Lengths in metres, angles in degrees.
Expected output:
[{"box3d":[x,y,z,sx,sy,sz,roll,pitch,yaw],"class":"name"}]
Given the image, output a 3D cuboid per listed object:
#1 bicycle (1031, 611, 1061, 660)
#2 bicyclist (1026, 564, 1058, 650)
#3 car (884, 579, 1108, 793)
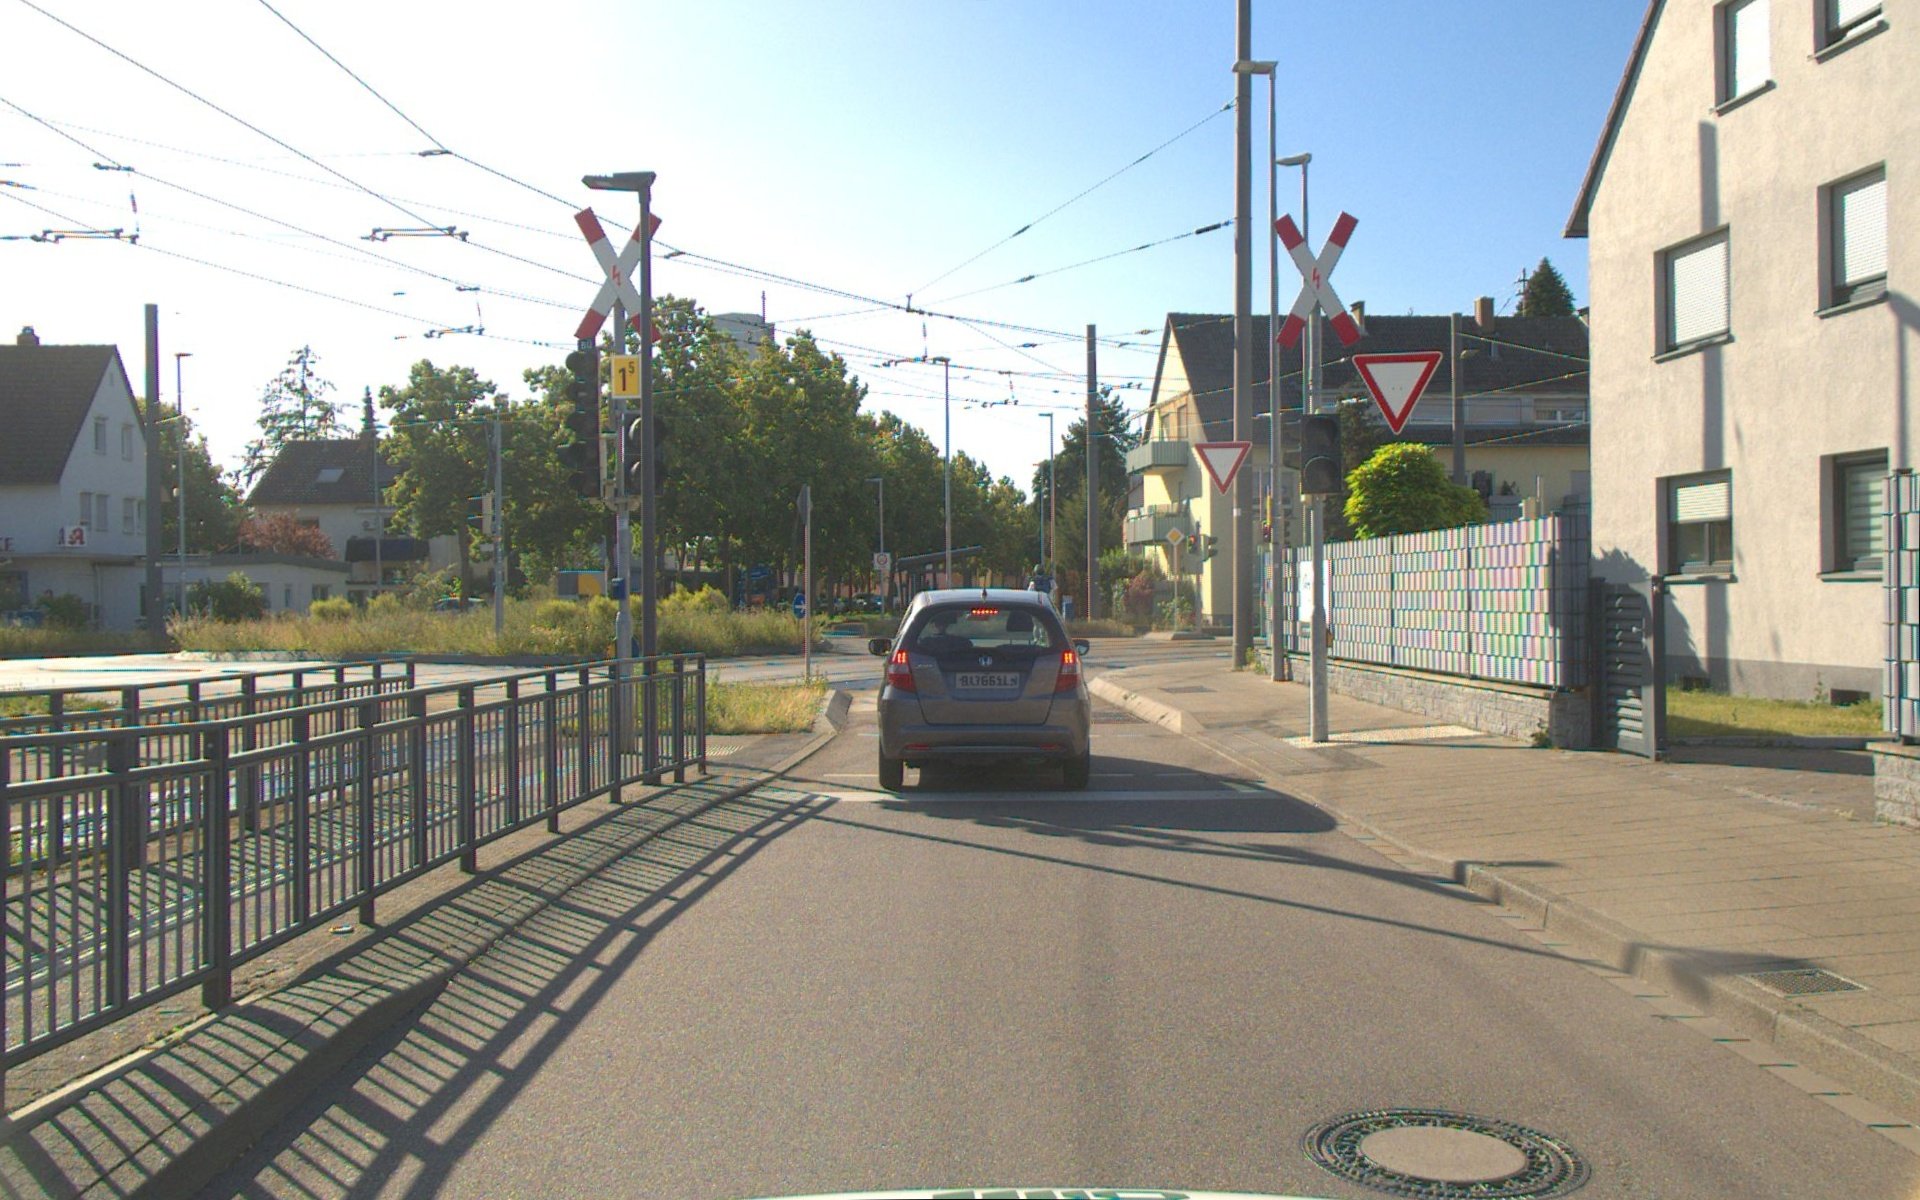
[{"box3d":[1.758,0.722,33.970,0.465,0.978,1.656,1,-1,-2],"class":"bicycle"},{"box3d":[1.666,0.138,33.712,0.586,1.731,0.683,1,-1,-2],"class":"bicyclist"},{"box3d":[0.187,0.630,13.914,1.637,1.562,3.485,1,0,-3],"class":"car"}]
